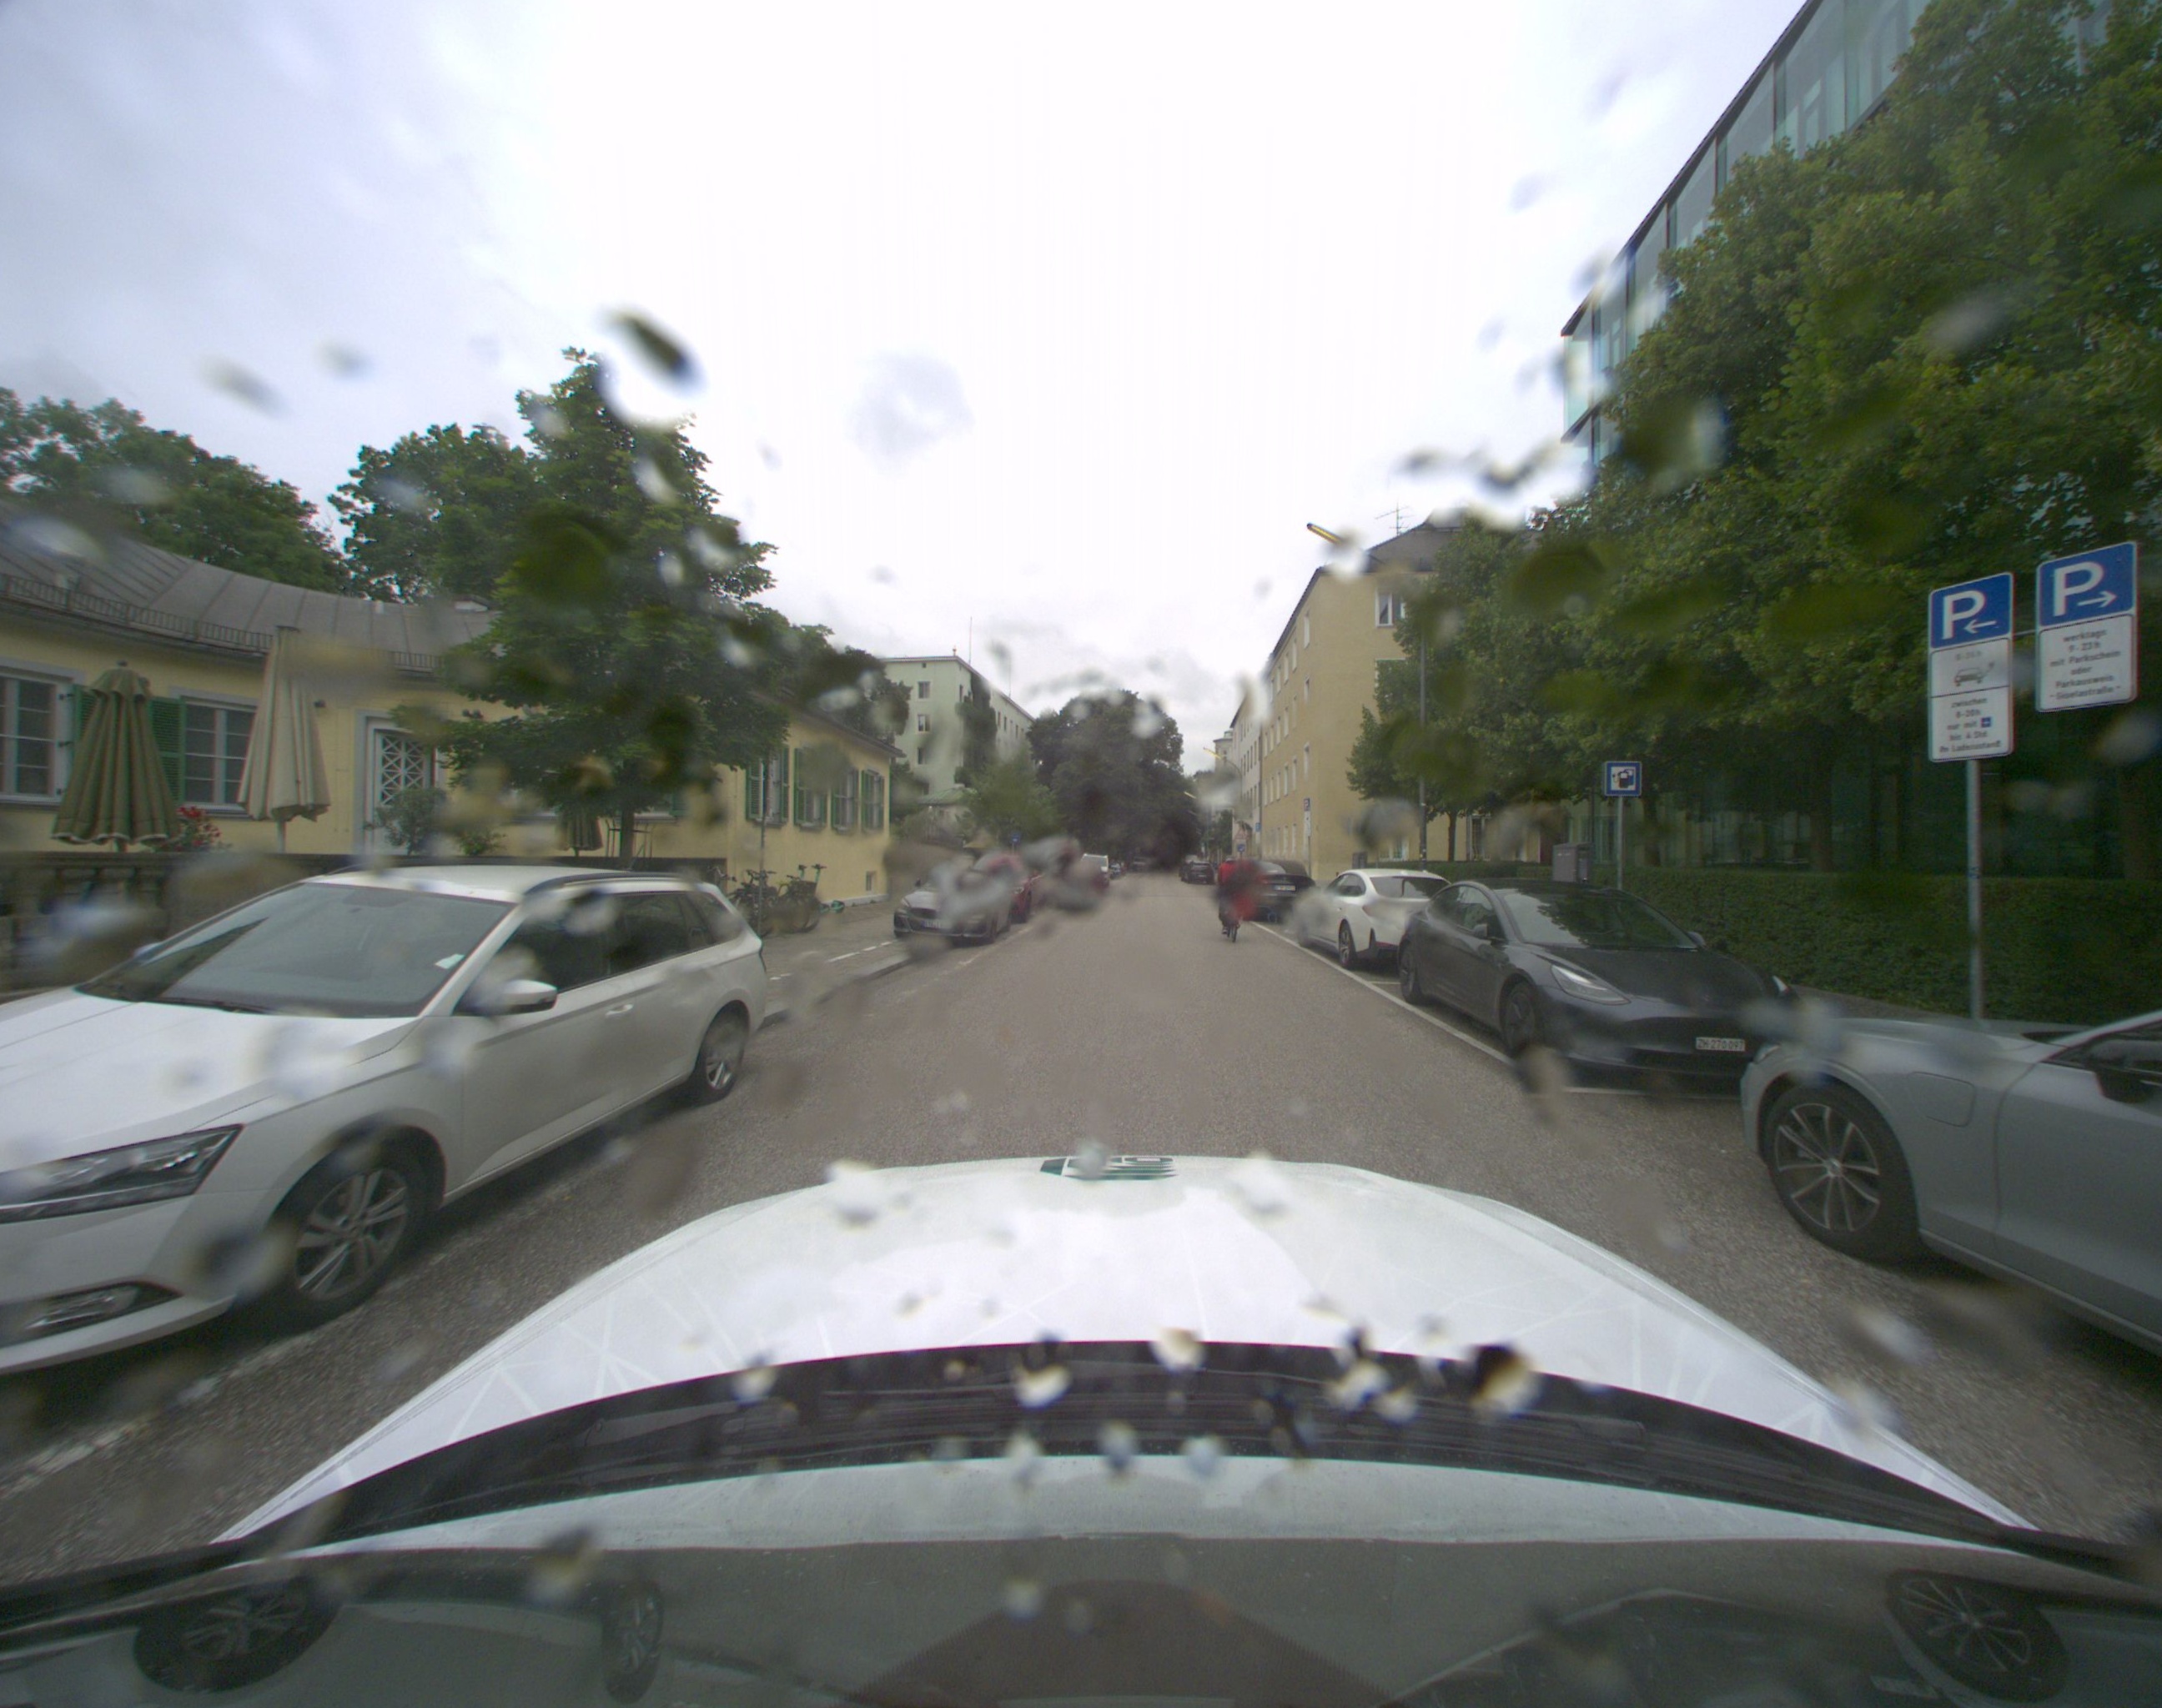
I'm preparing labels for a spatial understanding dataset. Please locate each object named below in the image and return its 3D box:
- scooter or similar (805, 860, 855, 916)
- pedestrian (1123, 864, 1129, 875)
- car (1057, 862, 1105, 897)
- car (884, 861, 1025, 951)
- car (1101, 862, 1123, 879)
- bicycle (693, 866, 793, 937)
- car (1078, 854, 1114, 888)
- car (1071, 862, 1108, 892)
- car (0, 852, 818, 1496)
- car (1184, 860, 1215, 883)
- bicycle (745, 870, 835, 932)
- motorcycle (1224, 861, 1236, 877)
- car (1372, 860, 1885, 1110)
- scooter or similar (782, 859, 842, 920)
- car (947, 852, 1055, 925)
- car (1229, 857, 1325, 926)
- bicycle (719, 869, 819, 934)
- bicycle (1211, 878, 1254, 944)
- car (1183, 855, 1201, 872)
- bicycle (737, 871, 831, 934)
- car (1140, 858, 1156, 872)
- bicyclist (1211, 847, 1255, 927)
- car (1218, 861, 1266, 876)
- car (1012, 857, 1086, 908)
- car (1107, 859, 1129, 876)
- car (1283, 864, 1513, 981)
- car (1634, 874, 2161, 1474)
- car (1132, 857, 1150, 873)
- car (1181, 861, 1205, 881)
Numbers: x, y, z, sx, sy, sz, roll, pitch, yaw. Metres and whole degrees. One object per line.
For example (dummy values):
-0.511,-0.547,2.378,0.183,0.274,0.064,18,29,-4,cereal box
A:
-6.092,0.801,19.822,0.360,1.314,1.261,0,-1,29,scooter or similar
6.121,2.090,109.930,0.710,1.548,0.753,2,-1,2,pedestrian
0.058,1.196,39.640,1.849,1.545,4.195,-2,-1,6,car
-2.379,0.929,16.550,1.889,1.519,4.658,2,0,2,car
2.777,1.399,71.410,1.800,1.402,4.928,2,0,3,car
-5.930,0.817,14.281,1.617,1.173,0.468,1,-1,12,bicycle
0.990,1.025,50.683,1.958,1.990,5.155,2,0,3,car
0.508,1.212,44.717,1.880,1.544,4.698,0,0,2,car
-3.128,0.775,4.222,1.717,1.492,4.467,2,0,5,car
8.567,1.254,59.243,1.852,1.577,4.903,-1,-1,3,car
-5.671,0.897,15.896,1.483,1.149,0.643,1,-1,6,bicycle
13.775,1.384,75.348,0.853,1.433,2.710,0,-1,4,motorcycle
4.424,0.869,7.739,1.953,1.552,4.856,2,0,5,car
-6.111,0.779,18.536,0.371,1.343,1.361,0,-1,31,scooter or similar
-1.995,0.854,21.938,1.892,1.692,4.816,2,0,6,car
5.318,0.951,22.728,1.983,1.631,5.109,2,0,7,car
-5.726,0.862,14.973,1.694,1.172,0.353,0,-1,3,bicycle
2.903,1.062,15.726,0.668,1.141,2.015,2,-1,7,bicycle
14.736,1.322,108.285,2.192,2.208,4.864,-1,-1,7,car
-5.590,0.904,15.341,1.622,1.137,0.387,0,-1,3,bicycle
9.926,1.636,120.631,2.173,1.956,5.174,2,0,5,car
2.937,0.630,15.831,0.750,1.483,0.983,2,-1,7,bicyclist
17.250,1.540,87.506,4.882,1.531,1.916,0,2,5,car
-1.035,0.948,28.807,1.836,1.607,4.751,2,0,7,car
3.741,1.350,81.115,1.878,1.590,4.534,2,0,6,car
4.784,0.926,13.191,1.985,1.460,4.960,2,0,3,car
3.832,0.888,1.866,1.939,1.552,5.009,2,0,3,car
8.021,1.457,109.035,2.237,1.956,5.461,2,0,5,car
8.879,1.346,64.682,1.829,1.531,4.424,-1,-1,7,car
